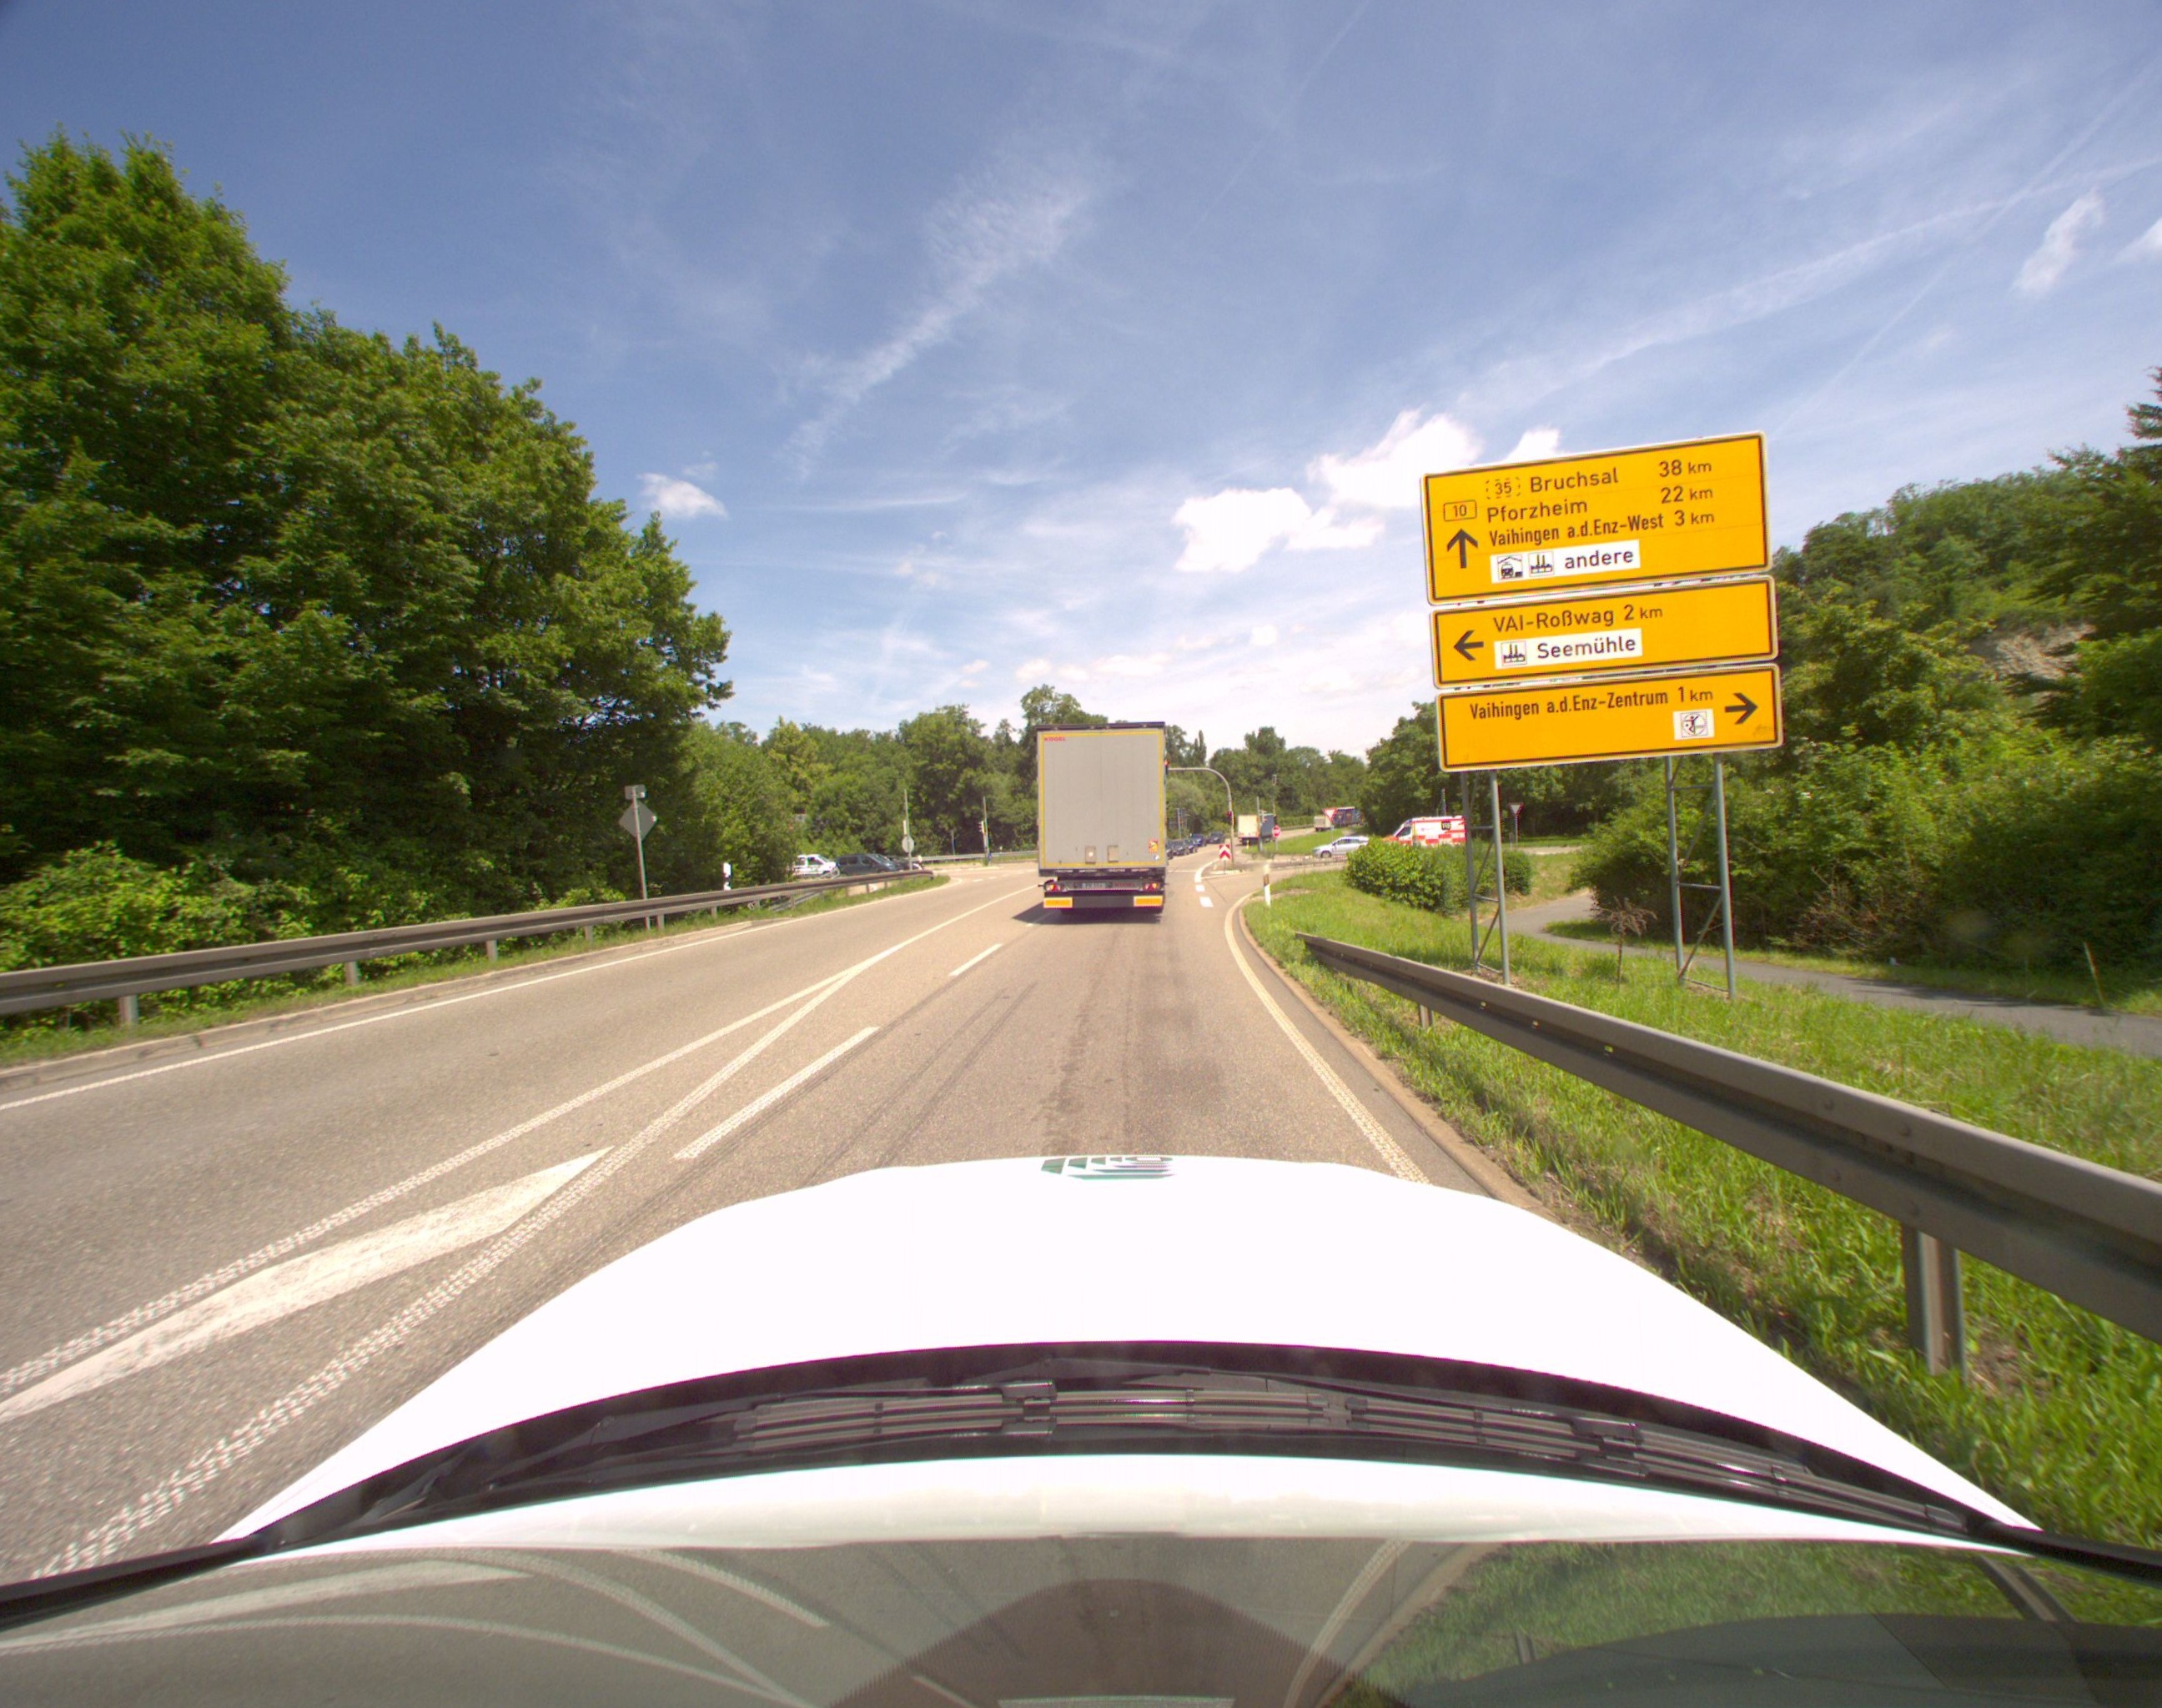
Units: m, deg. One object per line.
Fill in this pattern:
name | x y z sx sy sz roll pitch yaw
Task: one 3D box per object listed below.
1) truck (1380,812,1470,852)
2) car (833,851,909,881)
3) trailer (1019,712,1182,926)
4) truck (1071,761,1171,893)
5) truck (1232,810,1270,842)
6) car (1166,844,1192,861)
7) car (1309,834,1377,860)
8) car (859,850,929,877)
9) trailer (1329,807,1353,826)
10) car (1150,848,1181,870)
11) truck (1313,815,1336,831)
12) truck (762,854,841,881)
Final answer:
truck | 25.505 -1.551 60.415 5.956 2.728 2.516 -1 -1 25
car | -13.561 0.751 52.668 4.202 1.770 2.008 -2 0 14
trailer | 0.923 -0.778 21.964 3.037 4.033 12.577 -2 1 5
truck | 1.528 -0.913 28.737 3.024 4.033 6.639 -2 1 5
truck | 22.598 -3.771 107.599 3.152 4.028 11.807 -1 2 20
car | 9.269 -0.137 76.803 1.980 1.491 4.272 -1 -1 13
car | 18.528 -0.491 57.758 4.400 1.718 2.005 -1 -1 10
car | -13.011 0.653 56.775 4.202 1.770 2.008 -2 0 14
trailer | 53.898 -7.639 168.522 3.221 3.685 9.307 -1 1 27
car | 7.123 0.453 67.960 1.980 1.785 4.959 -1 -1 13
truck | 46.129 -5.834 154.146 2.829 2.948 7.147 -1 1 27
truck | -19.279 0.954 56.349 4.871 1.791 2.038 0 -1 -7
